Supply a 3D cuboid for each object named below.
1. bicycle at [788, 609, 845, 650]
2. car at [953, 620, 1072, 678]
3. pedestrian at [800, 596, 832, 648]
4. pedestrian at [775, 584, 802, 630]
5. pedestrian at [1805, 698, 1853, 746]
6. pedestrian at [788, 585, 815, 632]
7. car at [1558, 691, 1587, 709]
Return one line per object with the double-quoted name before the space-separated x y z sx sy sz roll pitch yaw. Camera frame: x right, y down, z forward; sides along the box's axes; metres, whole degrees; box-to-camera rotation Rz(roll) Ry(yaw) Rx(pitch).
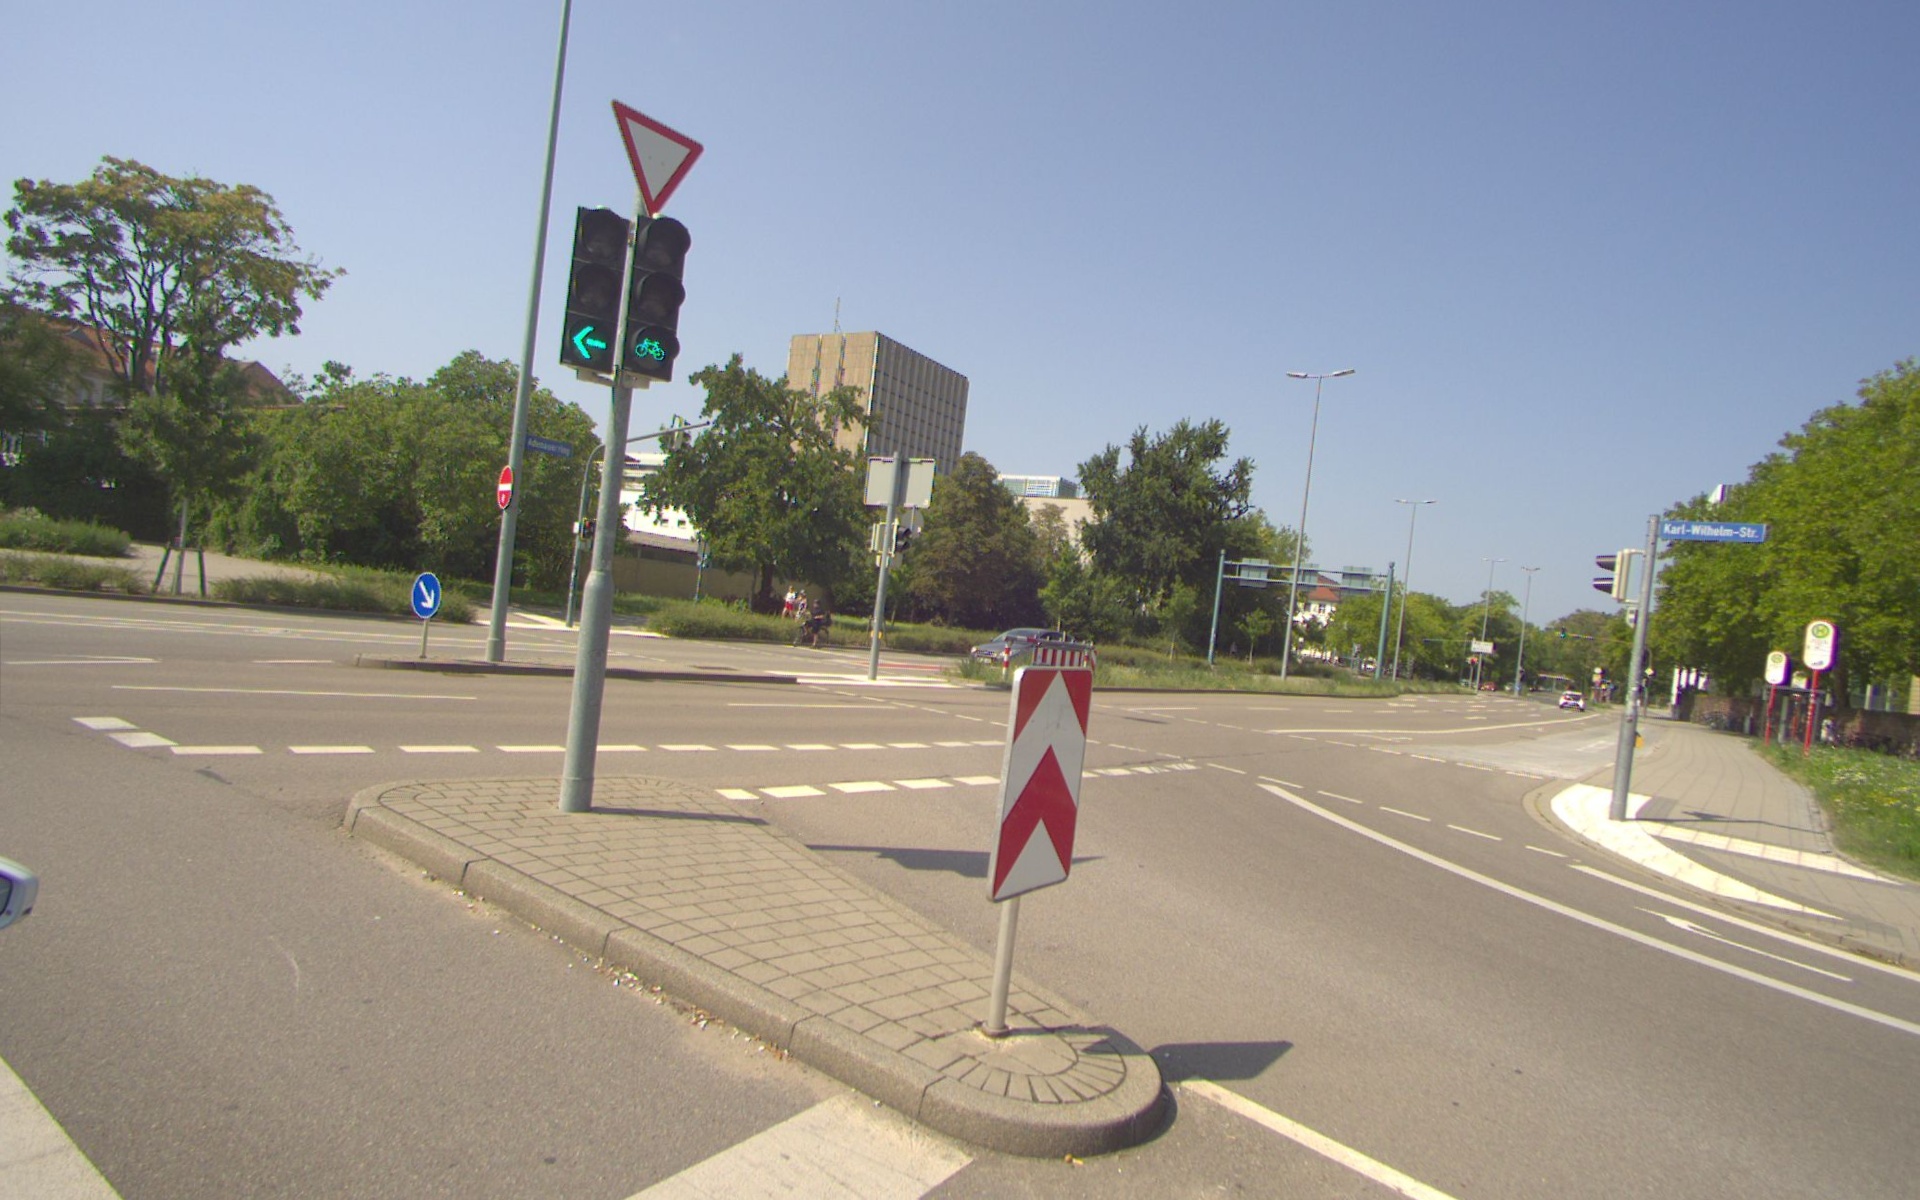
"bicycle" -4.900 1.025 34.481 0.774 1.227 1.783 7 0 38
"car" 1.567 1.442 28.984 1.765 1.373 3.413 5 -2 37
"pedestrian" -4.927 0.748 34.396 0.769 1.690 0.547 7 1 38
"pedestrian" -7.078 0.279 41.509 0.683 1.793 0.585 7 1 38
"pedestrian" 40.972 5.734 47.447 1.052 2.039 1.235 7 1 14
"pedestrian" -6.481 0.350 41.109 0.683 1.793 0.585 7 1 38
"car" 48.555 7.896 79.741 1.566 1.151 3.252 8 0 37
